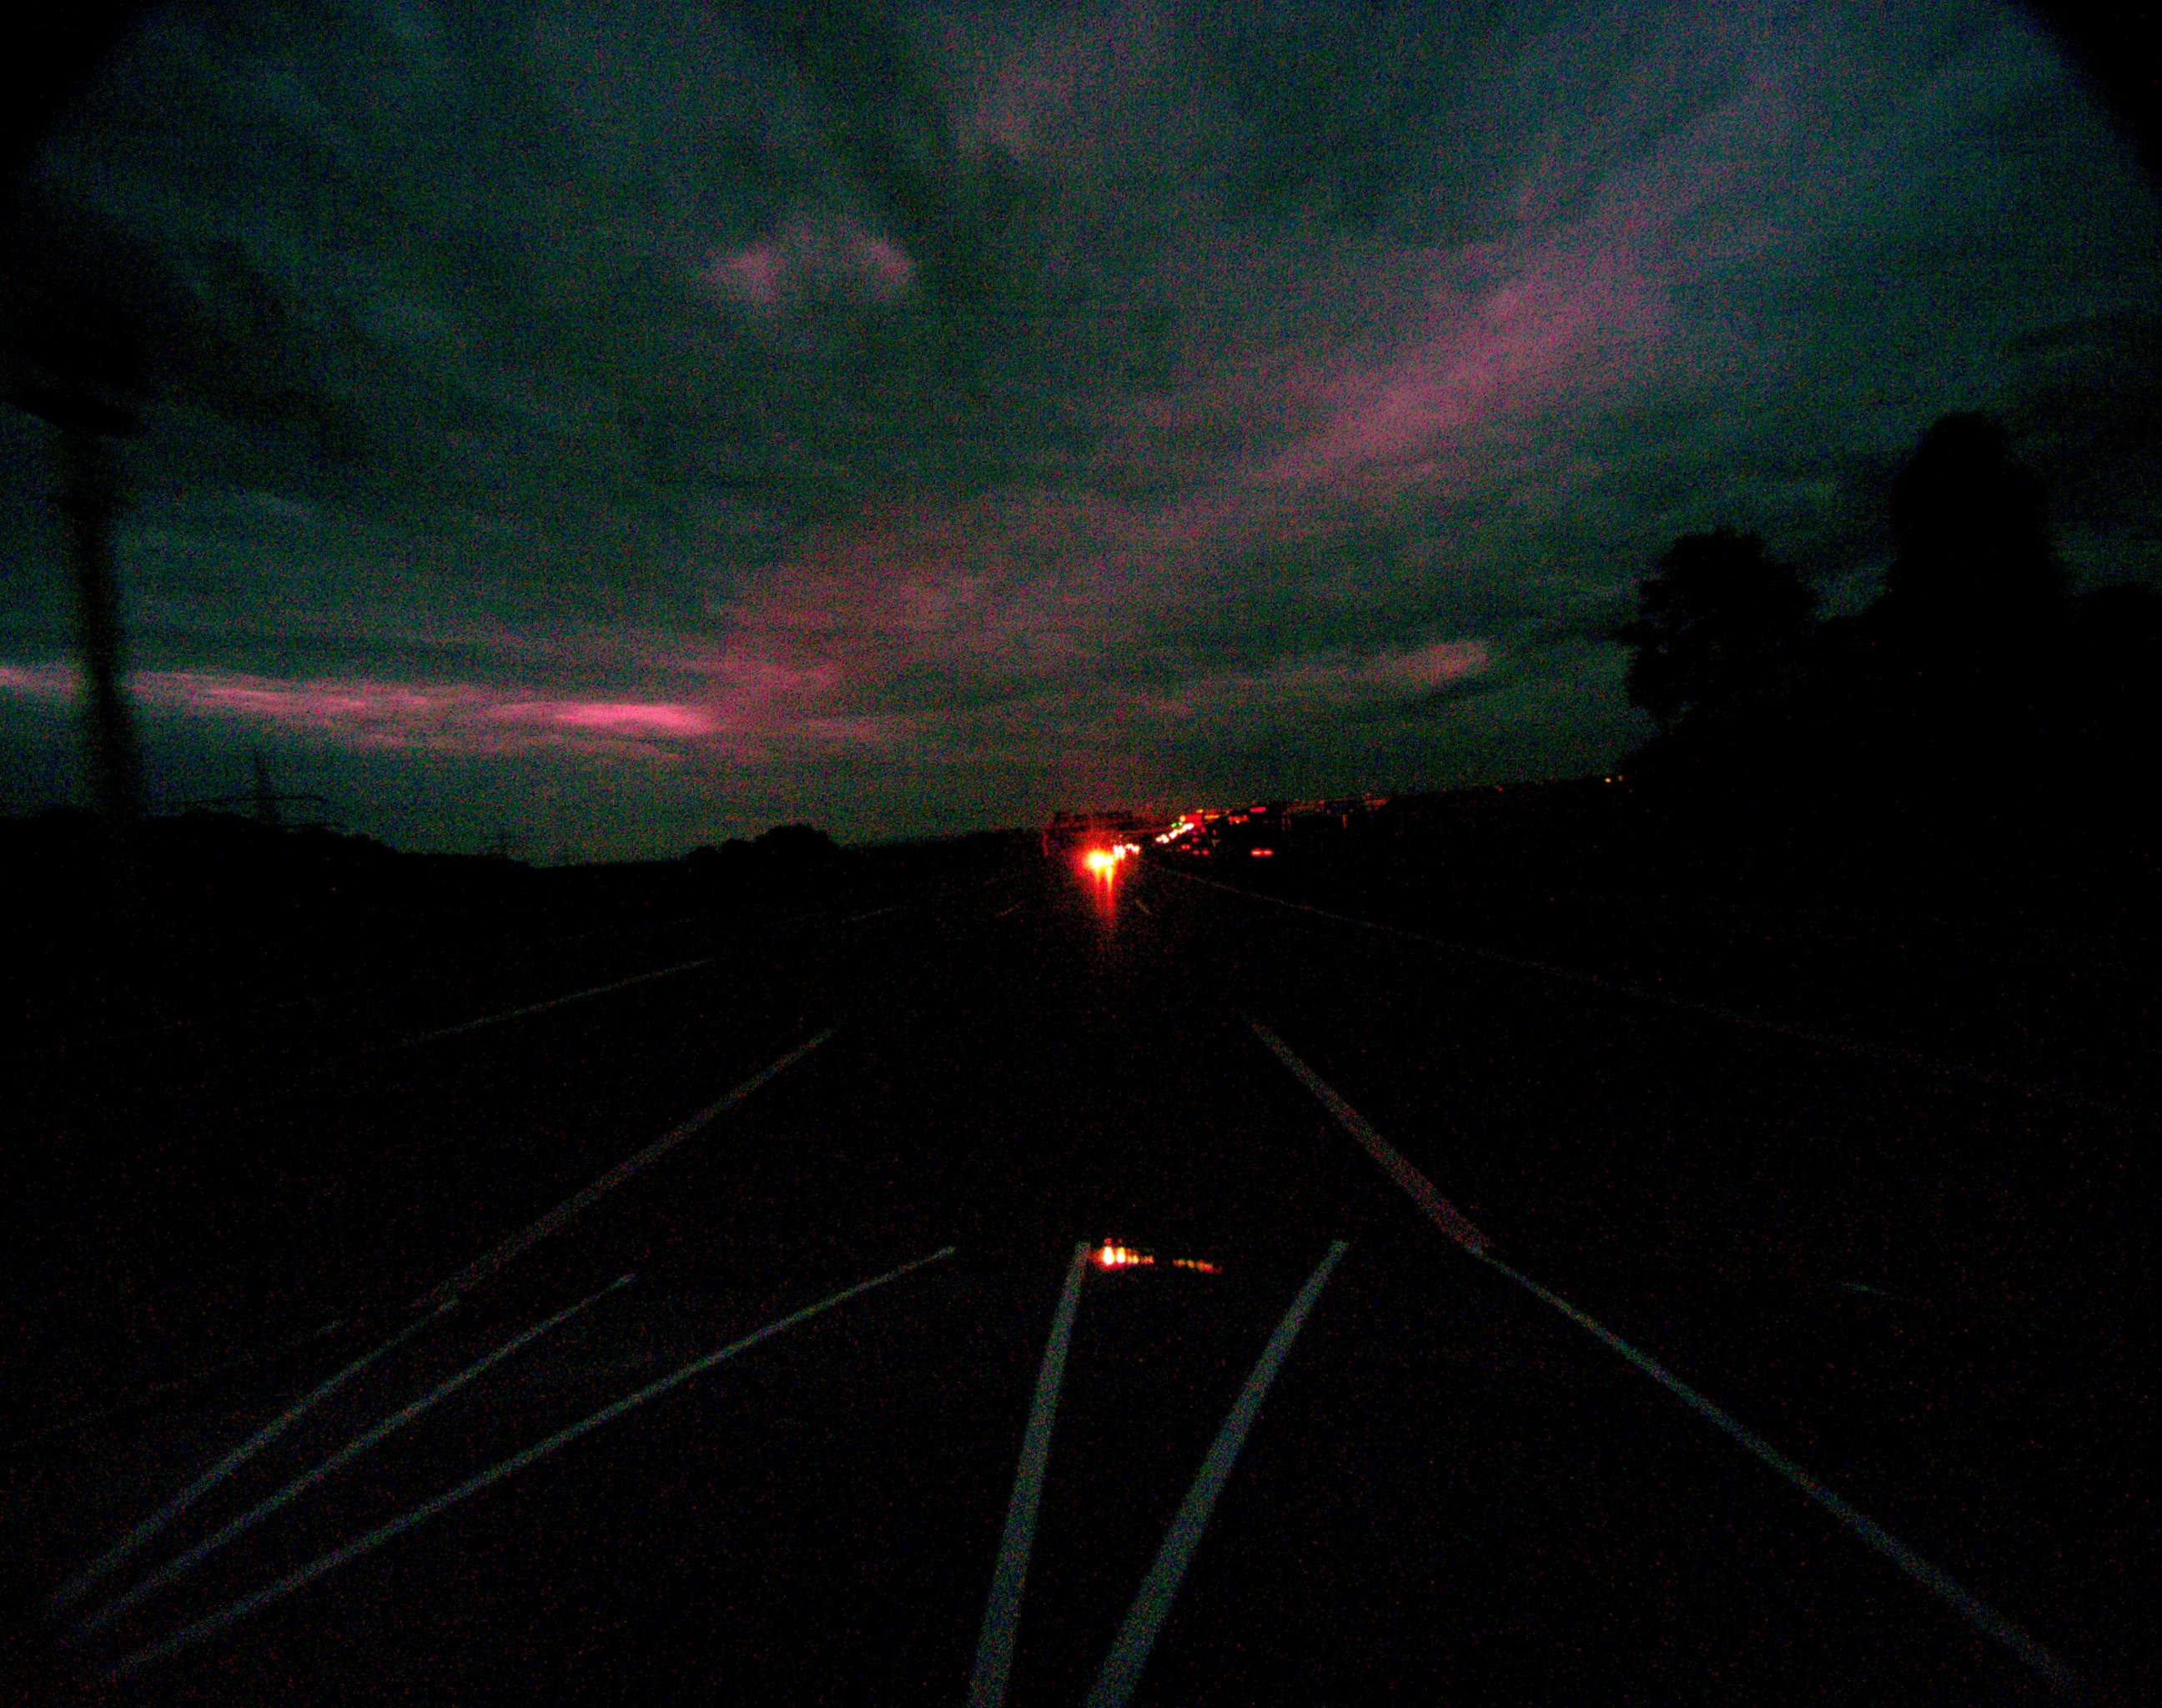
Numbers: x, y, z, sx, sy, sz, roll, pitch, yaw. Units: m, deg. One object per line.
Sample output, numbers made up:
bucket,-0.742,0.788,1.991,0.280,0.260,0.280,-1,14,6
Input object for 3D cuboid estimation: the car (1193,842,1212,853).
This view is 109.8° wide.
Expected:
car,17.157,-0.934,107.235,1.998,1.395,4.329,-2,0,0

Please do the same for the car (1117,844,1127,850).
car,10.678,-1.781,196.996,1.997,1.342,4.177,-5,2,11

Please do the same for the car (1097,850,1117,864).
car,2.861,0.278,83.176,1.998,1.342,4.175,0,2,3

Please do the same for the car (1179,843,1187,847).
car,30.489,-2.678,226.735,1.998,1.350,4.865,-2,0,2

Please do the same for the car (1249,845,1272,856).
car,19.980,-0.406,84.639,1.725,1.220,4.183,-2,0,2
